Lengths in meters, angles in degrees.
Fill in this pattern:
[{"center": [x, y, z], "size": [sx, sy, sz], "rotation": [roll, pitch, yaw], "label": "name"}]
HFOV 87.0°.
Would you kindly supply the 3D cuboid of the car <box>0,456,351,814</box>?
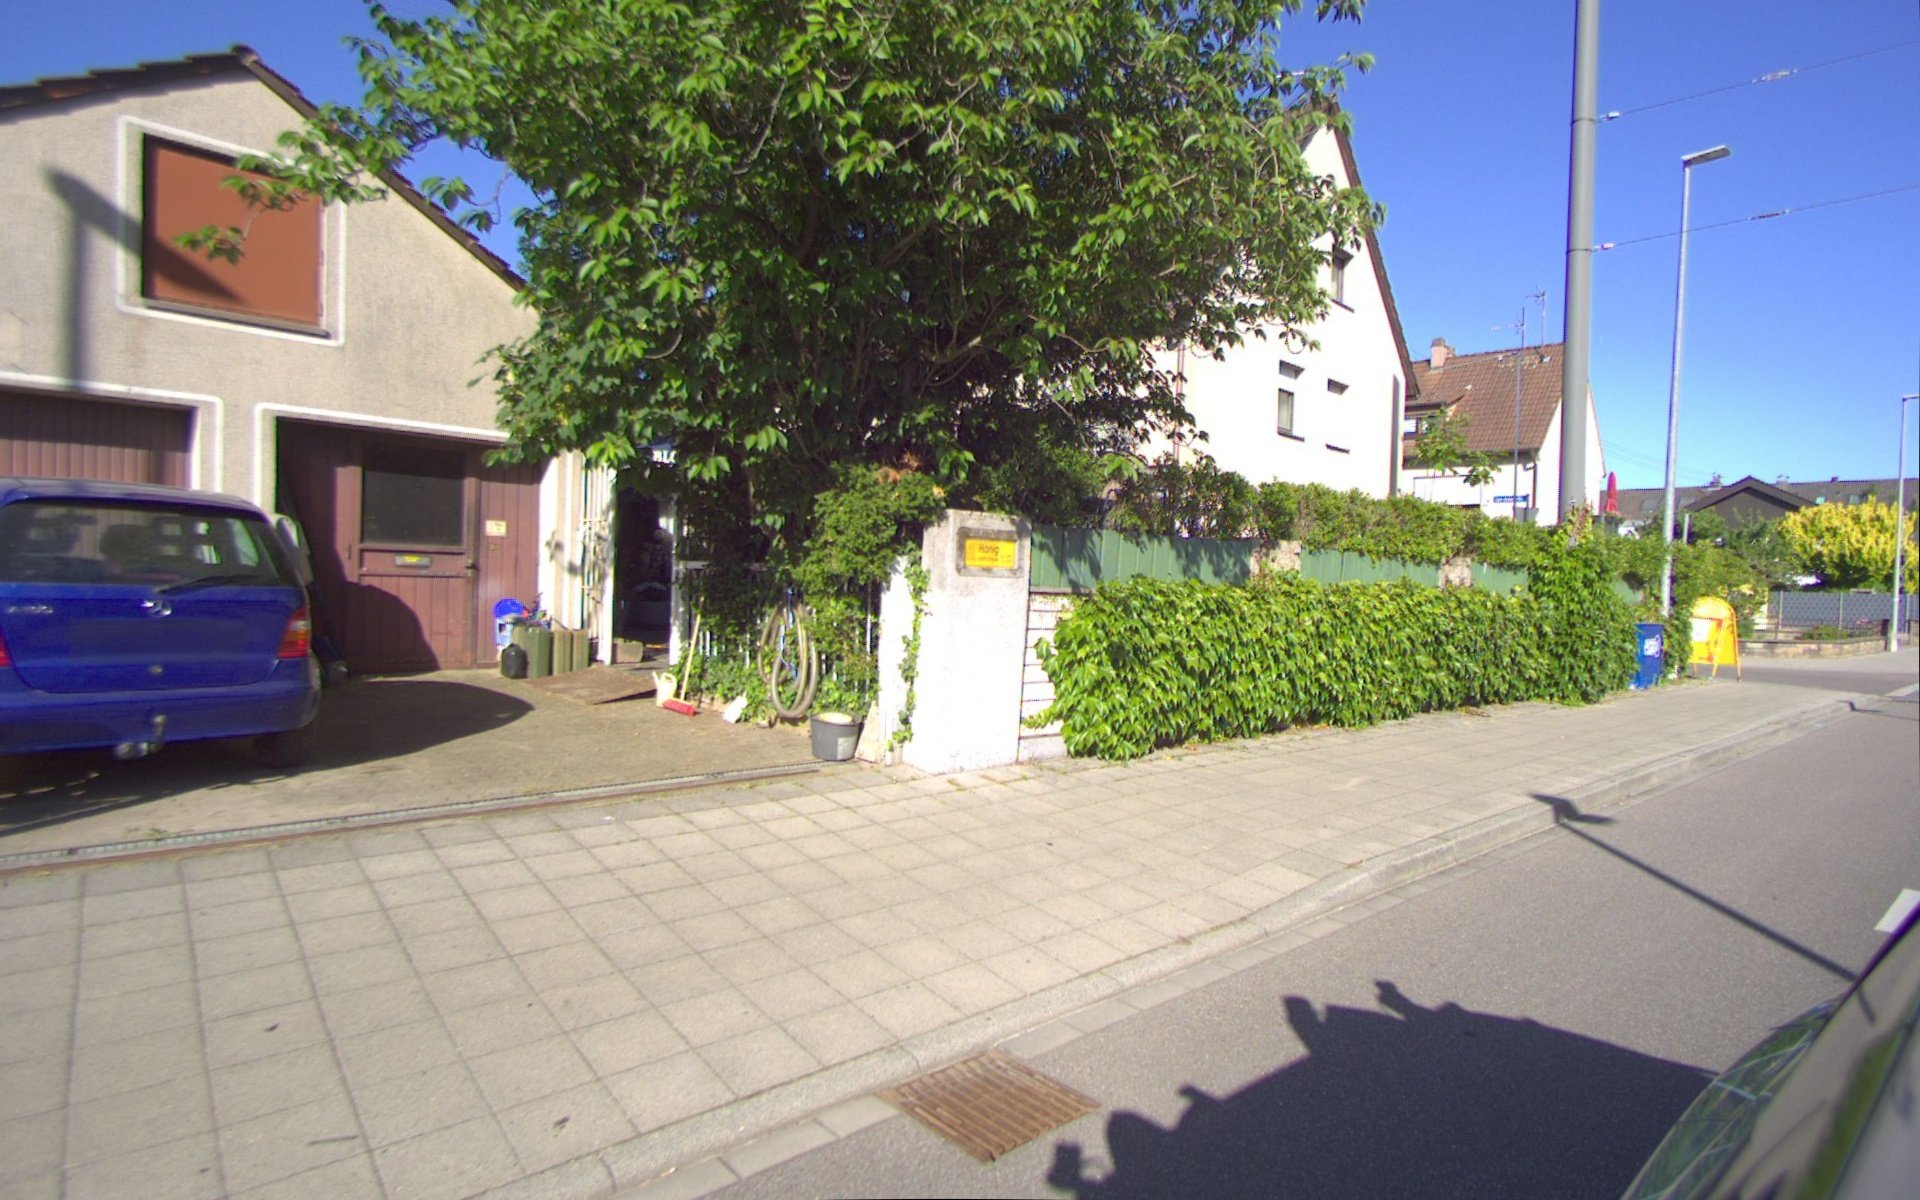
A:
[{"center": [-5.323, 0.034, 6.111], "size": [3.758, 1.588, 1.726], "rotation": [5, 3, 41], "label": "car"}]
